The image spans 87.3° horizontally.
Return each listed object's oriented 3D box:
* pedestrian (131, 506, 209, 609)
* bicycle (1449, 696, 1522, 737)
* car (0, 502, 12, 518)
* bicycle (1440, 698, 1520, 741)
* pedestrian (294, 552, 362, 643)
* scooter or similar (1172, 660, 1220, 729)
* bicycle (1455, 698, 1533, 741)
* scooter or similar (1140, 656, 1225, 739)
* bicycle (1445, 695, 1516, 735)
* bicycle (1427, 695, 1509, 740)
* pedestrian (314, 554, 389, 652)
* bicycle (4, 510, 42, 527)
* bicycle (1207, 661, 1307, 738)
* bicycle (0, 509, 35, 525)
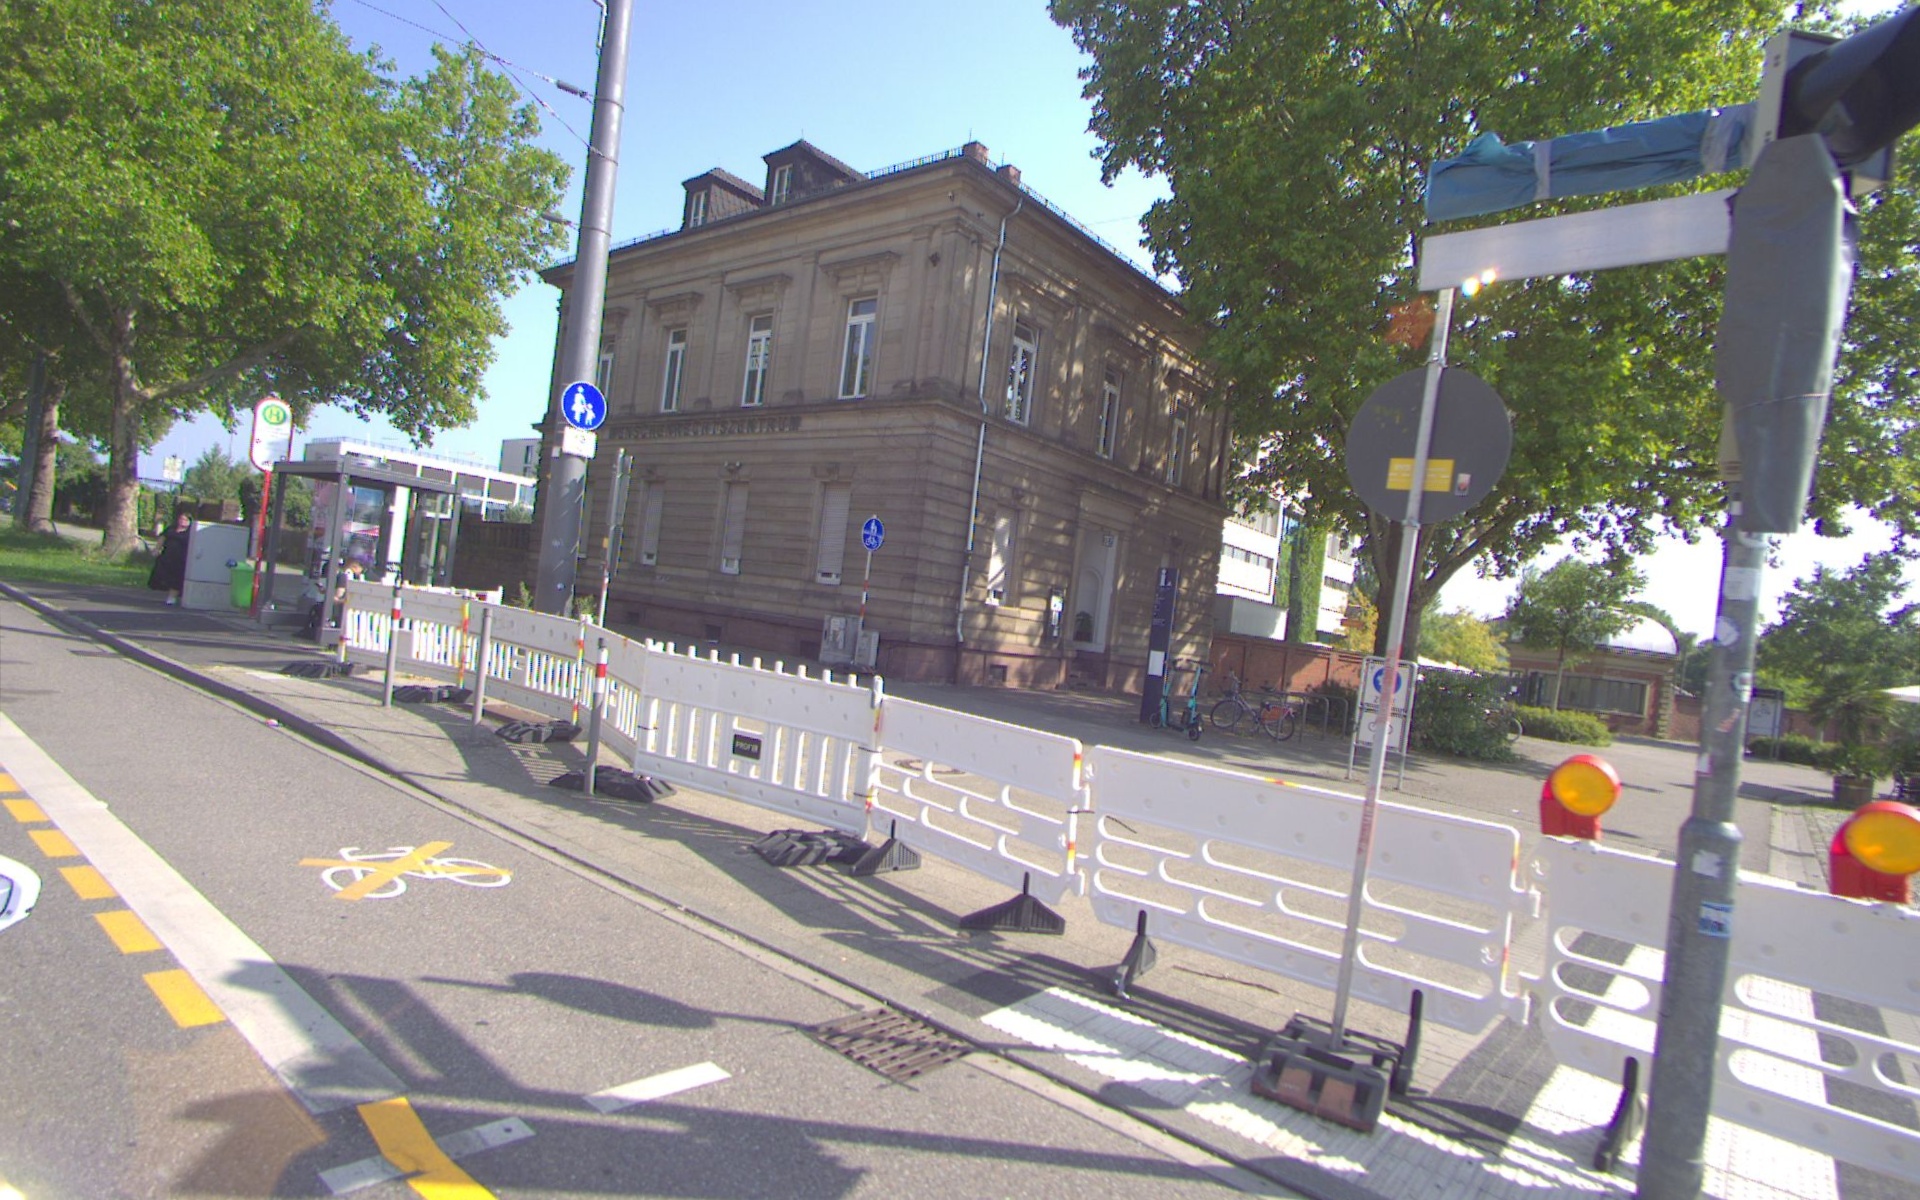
[{"bbox_3d":[-13.726,-0.737,17.474,0.878,1.646,0.812,6,0,-44],"label":"pedestrian"},{"bbox_3d":[15.768,3.497,30.221,0.565,0.911,1.773,6,2,-42],"label":"bicycle"},{"bbox_3d":[-105.328,-9.894,110.300,3.743,1.595,1.605,6,0,41],"label":"car"},{"bbox_3d":[14.347,3.294,27.789,0.565,0.871,1.773,6,2,-42],"label":"bicycle"},{"bbox_3d":[-9.166,-0.032,14.587,0.566,1.234,0.607,6,2,38],"label":"pedestrian"},{"bbox_3d":[4.147,1.659,17.641,0.308,1.146,1.091,7,0,37],"label":"scooter or similar"},{"bbox_3d":[15.115,3.384,28.508,0.565,0.871,1.773,6,2,-42],"label":"bicycle"},{"bbox_3d":[3.618,1.582,16.398,0.407,1.180,1.210,6,0,-45],"label":"scooter or similar"},{"bbox_3d":[15.978,3.525,30.921,0.565,0.911,1.773,6,2,-42],"label":"bicycle"},{"bbox_3d":[13.679,3.165,27.117,0.644,0.871,1.773,6,2,-42],"label":"bicycle"},{"bbox_3d":[-8.538,0.042,14.113,0.748,1.294,0.607,6,2,38],"label":"pedestrian"},{"bbox_3d":[-76.884,-6.682,82.546,0.732,1.089,2.172,6,-1,39],"label":"bicycle"},{"bbox_3d":[5.457,1.821,18.561,0.497,1.180,1.608,6,0,-45],"label":"bicycle"},{"bbox_3d":[-79.152,-6.982,84.465,0.733,1.090,2.166,6,2,44],"label":"bicycle"}]
